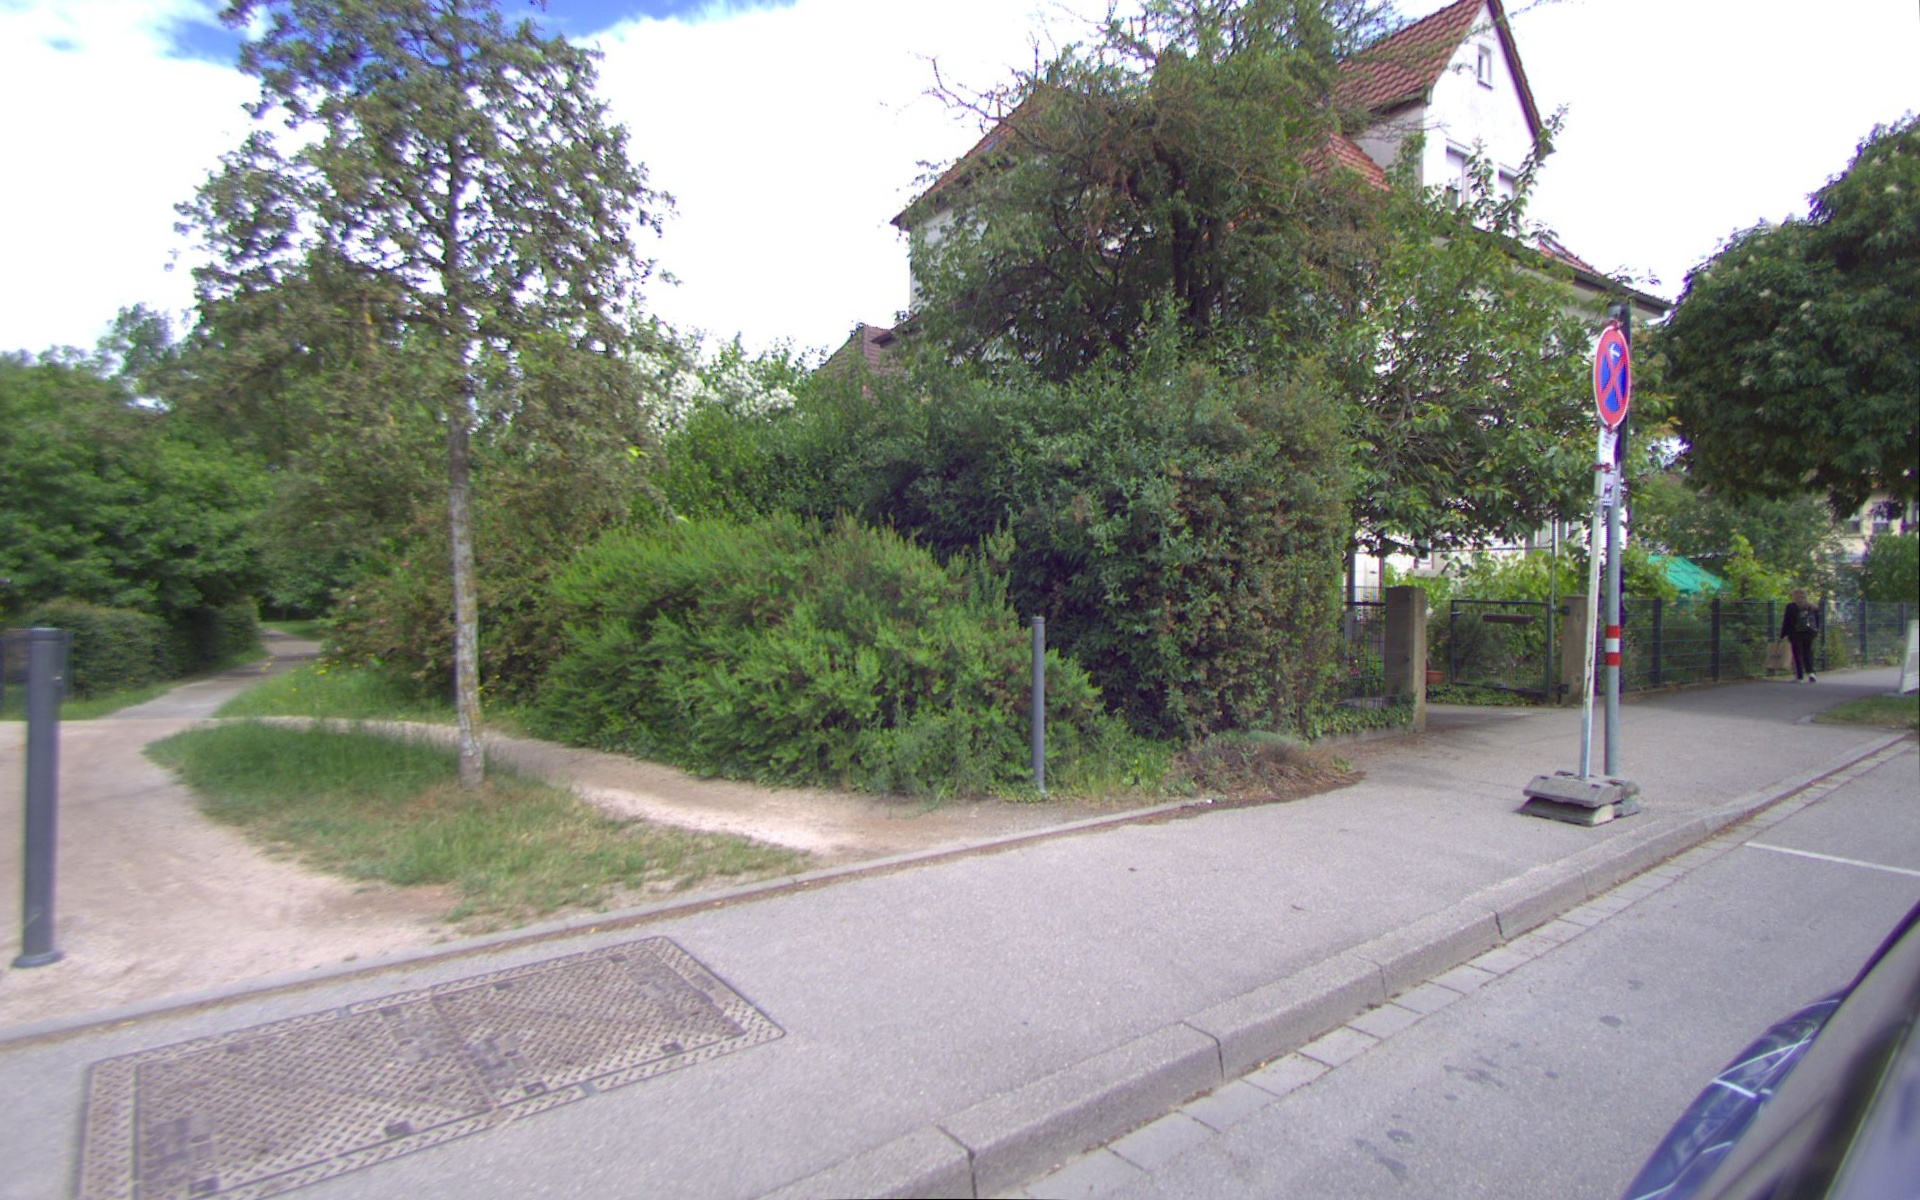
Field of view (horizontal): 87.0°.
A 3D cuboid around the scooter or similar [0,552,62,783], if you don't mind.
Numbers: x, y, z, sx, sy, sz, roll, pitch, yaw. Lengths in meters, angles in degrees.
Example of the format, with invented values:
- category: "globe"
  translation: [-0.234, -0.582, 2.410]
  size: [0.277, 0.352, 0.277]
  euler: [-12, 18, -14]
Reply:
- category: "scooter or similar"
  translation: [-6.236, 0.378, 6.275]
  size: [0.808, 1.342, 1.397]
  euler: [1, 0, -35]

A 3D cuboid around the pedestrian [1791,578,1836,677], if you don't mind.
- category: "pedestrian"
  translation: [13.776, 0.431, 16.338]
  size: [0.520, 1.559, 0.627]
  euler: [2, 1, 41]
